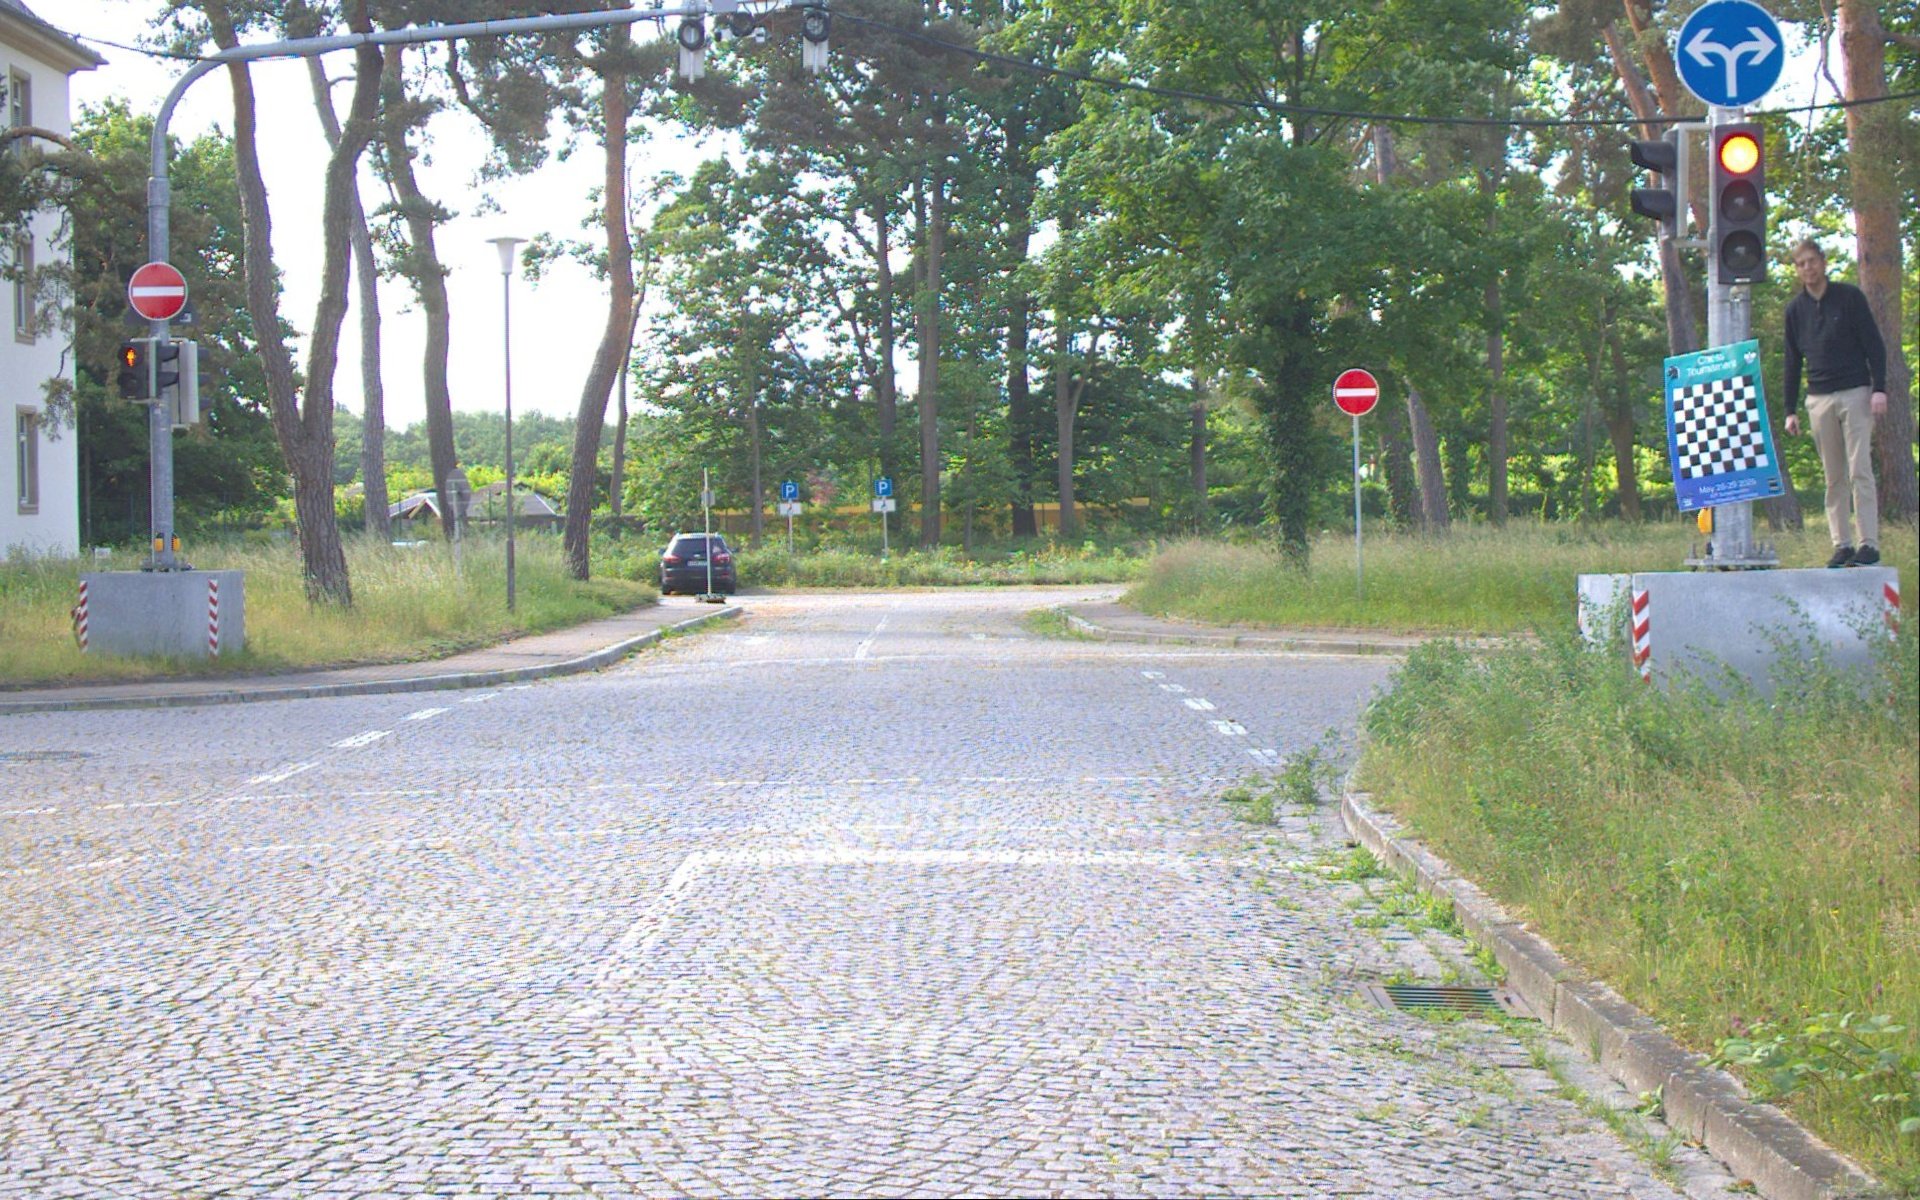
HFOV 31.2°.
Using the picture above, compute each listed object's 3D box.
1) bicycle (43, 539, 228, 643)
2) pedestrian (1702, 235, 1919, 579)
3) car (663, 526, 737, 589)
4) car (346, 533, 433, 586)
[{"bbox_3d":[-8.905,-0.106,37.186,0.634,1.062,1.946,0,2,39],"label":"bicycle"},{"bbox_3d":[4.811,-1.037,18.819,1.170,1.790,1.061,-1,2,29],"label":"pedestrian"},{"bbox_3d":[-6.519,-1.089,86.568,1.709,1.491,3.919,-1,1,-2],"label":"car"},{"bbox_3d":[-14.461,-1.045,87.331,1.709,1.269,3.919,-1,1,-2],"label":"car"}]
